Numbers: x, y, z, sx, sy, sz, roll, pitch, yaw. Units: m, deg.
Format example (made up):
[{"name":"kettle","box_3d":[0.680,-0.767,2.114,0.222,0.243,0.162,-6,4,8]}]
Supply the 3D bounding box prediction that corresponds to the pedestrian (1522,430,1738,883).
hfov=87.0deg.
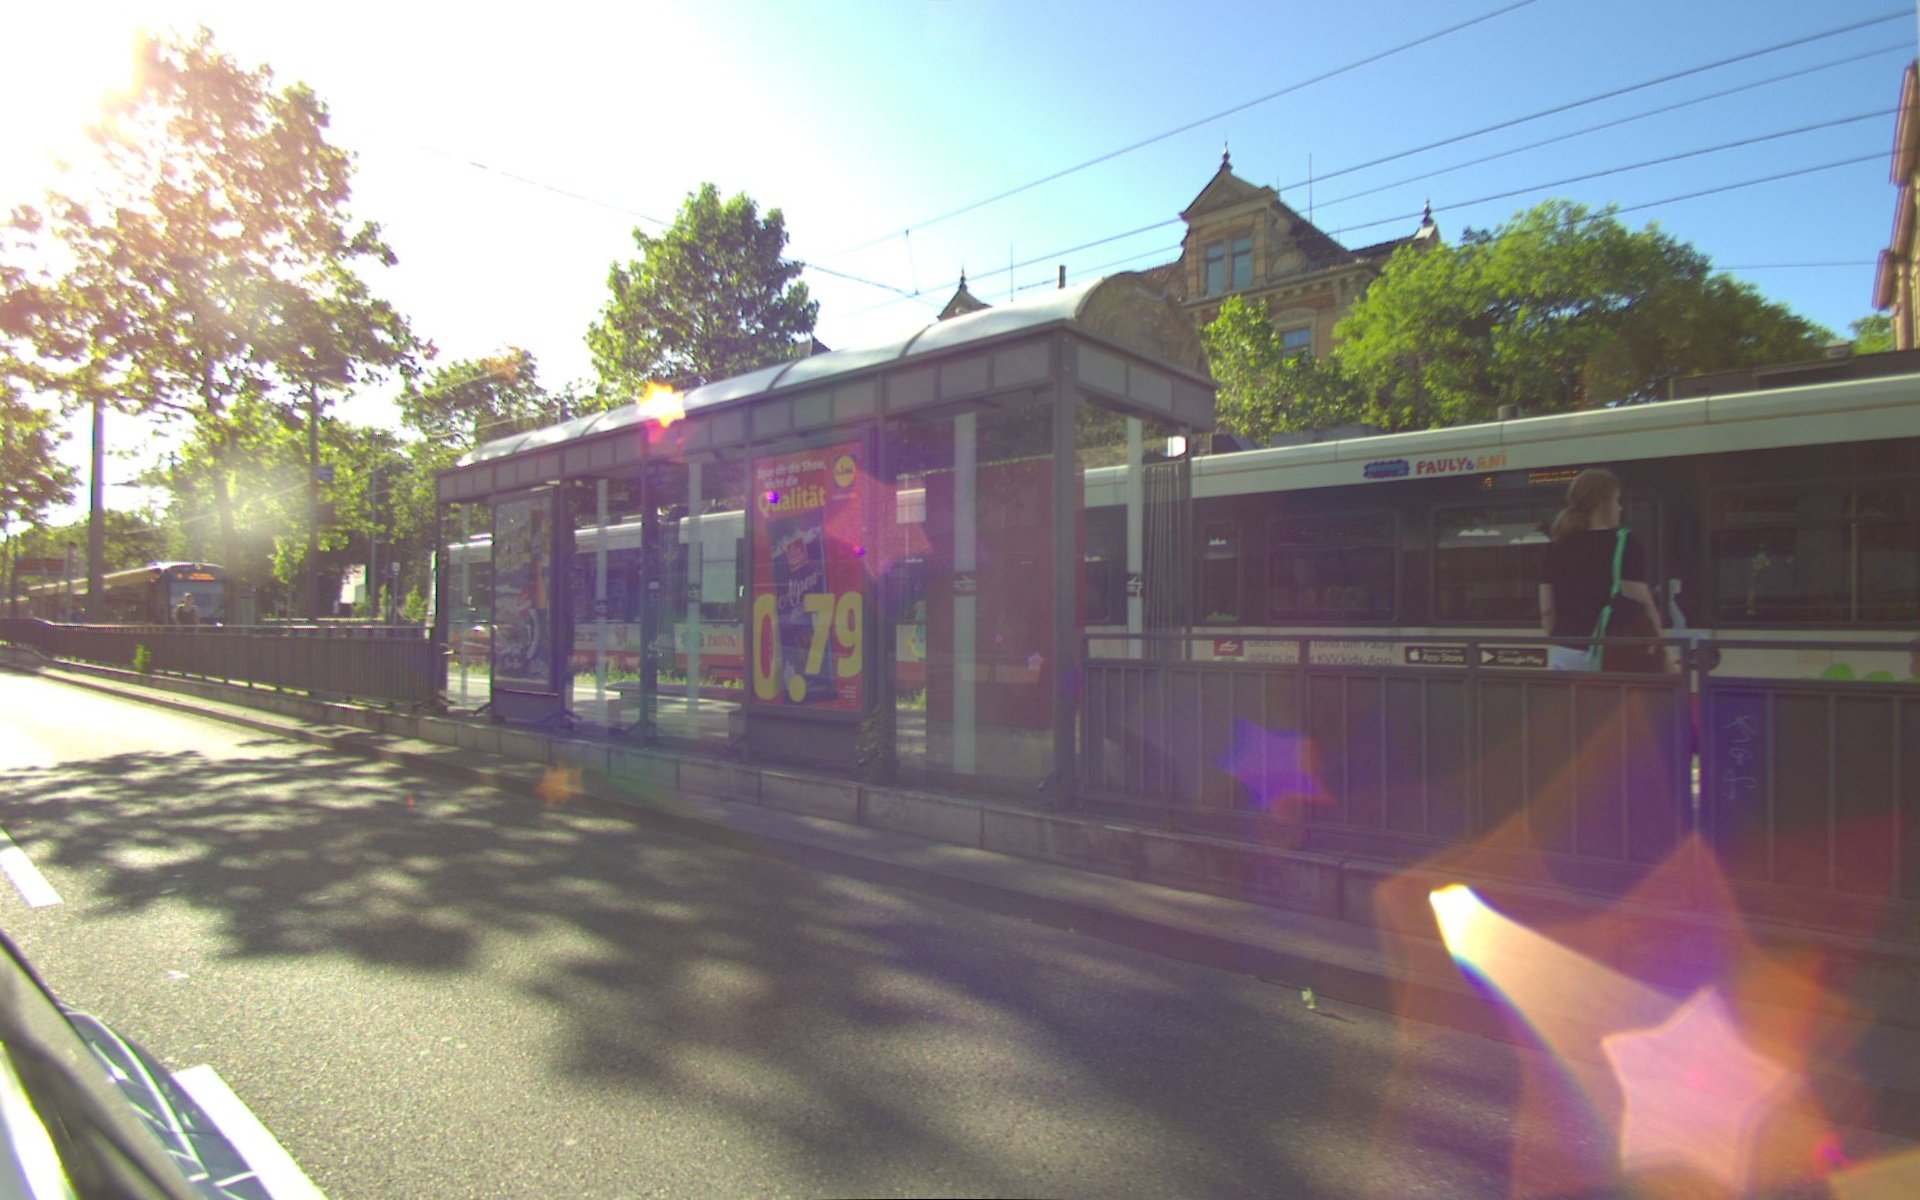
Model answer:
[{"name":"pedestrian","box_3d":[2.718,0.210,4.111,0.621,1.652,0.560,-2,-2,43]}]

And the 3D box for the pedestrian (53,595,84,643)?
[{"name":"pedestrian","box_3d":[-30.970,0.673,35.150,0.761,1.648,0.691,-2,-2,41]}]

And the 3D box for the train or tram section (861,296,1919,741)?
[{"name":"train or tram section","box_3d":[6.168,-0.568,10.921,18.207,3.460,2.819,-2,-1,42]}]

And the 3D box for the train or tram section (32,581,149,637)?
[{"name":"train or tram section","box_3d":[-45.031,0.598,52.143,15.067,2.551,2.535,-2,-2,42]}]

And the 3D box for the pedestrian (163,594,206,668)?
[{"name":"pedestrian","box_3d":[-18.379,0.725,23.990,0.624,1.723,0.674,-2,-2,41]}]

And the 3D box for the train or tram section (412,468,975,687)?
[{"name":"train or tram section","box_3d":[-7.497,-0.151,23.134,18.268,3.460,2.840,-2,-1,42]}]

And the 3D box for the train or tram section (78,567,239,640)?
[{"name":"train or tram section","box_3d":[-33.560,0.291,41.933,15.668,2.584,2.535,-2,-2,42]}]

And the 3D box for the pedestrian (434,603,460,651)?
[{"name":"pedestrian","box_3d":[-19.804,1.059,39.079,0.617,1.815,0.624,1,-3,-2]}]

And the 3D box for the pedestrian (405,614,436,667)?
[{"name":"pedestrian","box_3d":[-18.268,1.364,34.285,0.812,1.770,0.667,-2,-2,40]}]
